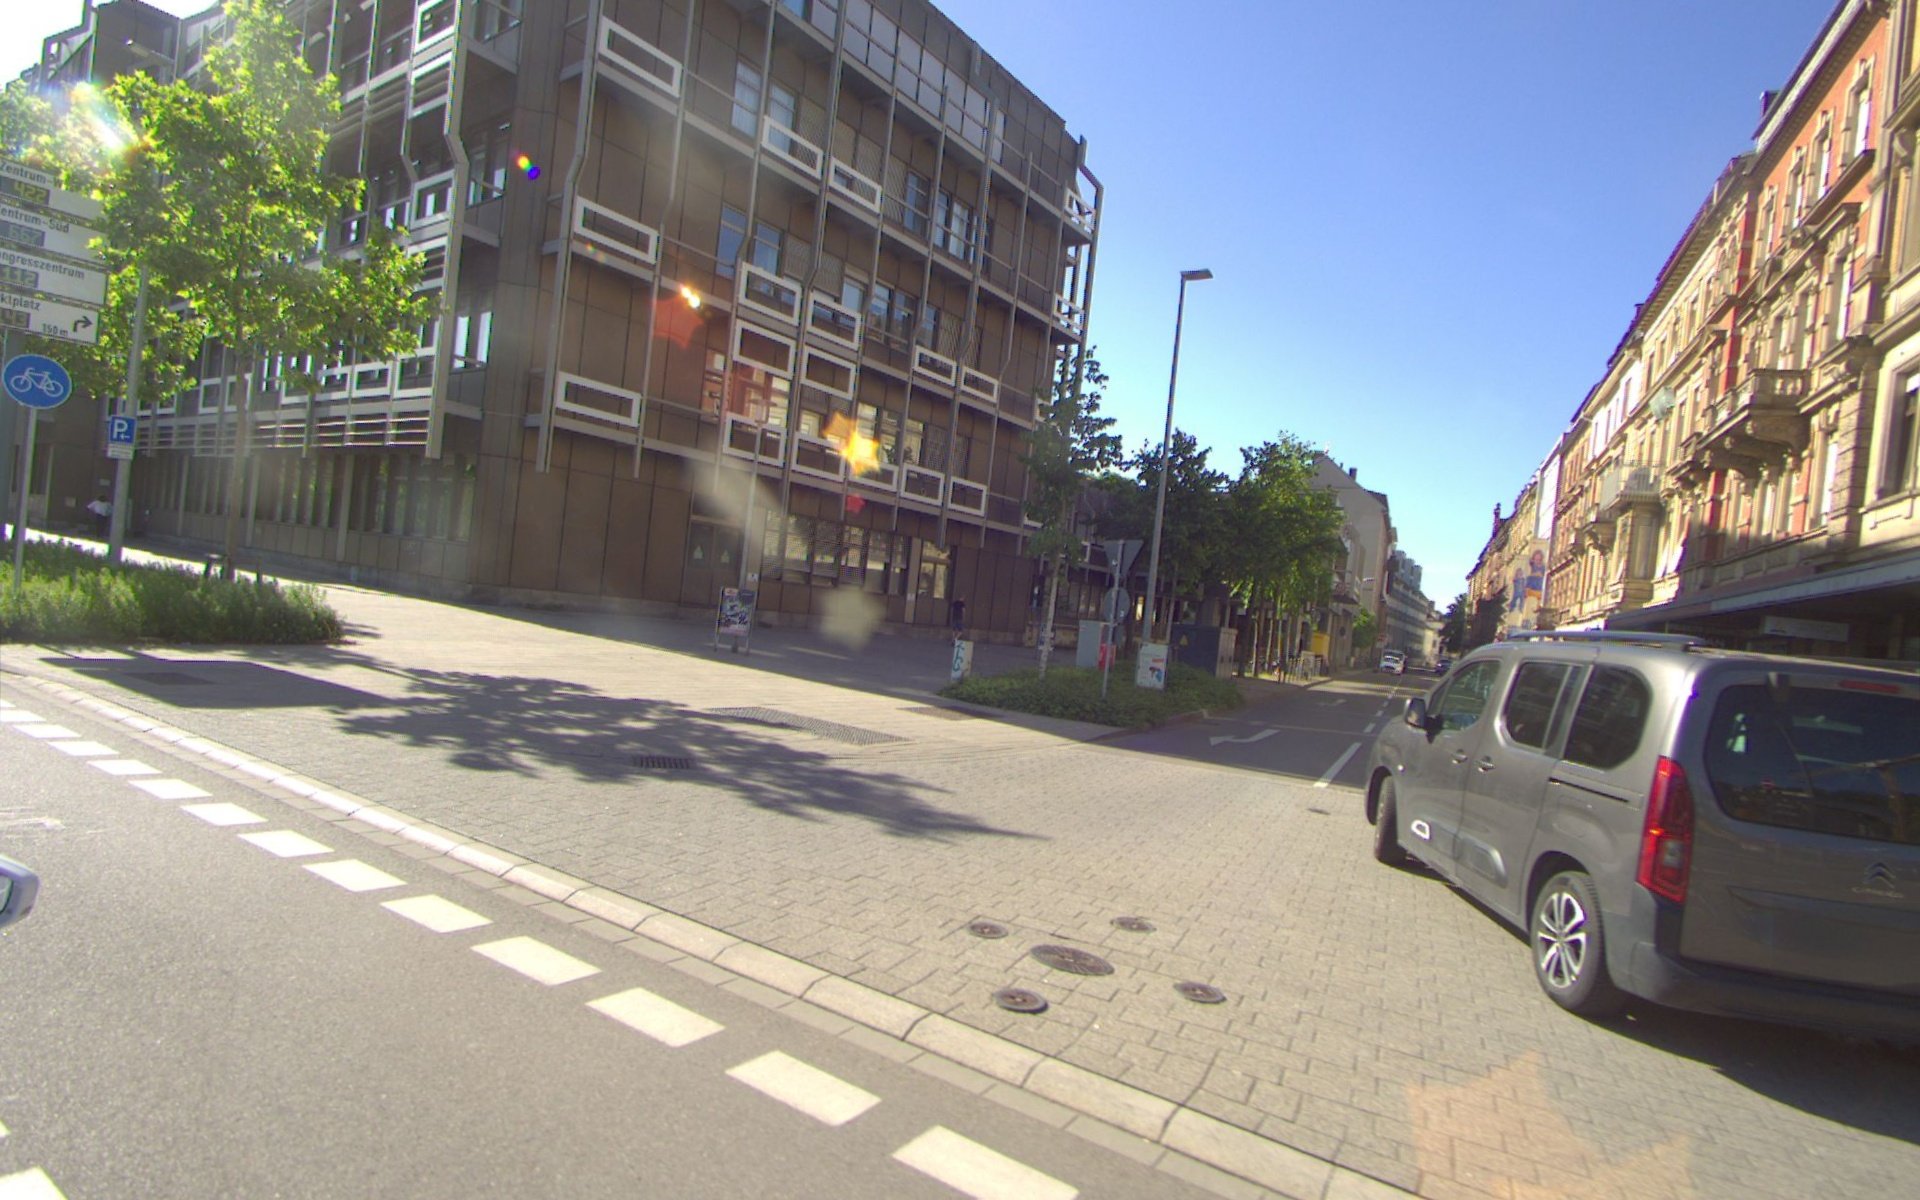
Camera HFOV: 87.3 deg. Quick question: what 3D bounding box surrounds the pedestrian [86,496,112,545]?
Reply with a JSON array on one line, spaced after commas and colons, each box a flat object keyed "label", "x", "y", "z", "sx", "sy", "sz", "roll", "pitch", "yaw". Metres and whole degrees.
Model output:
[{"label": "pedestrian", "x": -30.363, "y": -2.810, "z": 35.482, "sx": 0.664, "sy": 1.644, "sz": 0.510, "roll": 7, "pitch": 3, "yaw": 38}]

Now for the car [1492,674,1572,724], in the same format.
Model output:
[{"label": "car", "x": 19.537, "y": 3.344, "z": 34.499, "sx": 1.681, "sy": 1.370, "sz": 3.823, "roll": 7, "pitch": -1, "yaw": 21}]

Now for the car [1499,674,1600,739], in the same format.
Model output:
[{"label": "car", "x": 16.331, "y": 2.900, "z": 28.072, "sx": 1.620, "sy": 1.370, "sz": 4.439, "roll": 7, "pitch": -1, "yaw": 21}]

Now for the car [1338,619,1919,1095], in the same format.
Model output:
[{"label": "car", "x": 3.903, "y": 1.109, "z": 6.073, "sx": 1.783, "sy": 1.774, "sz": 4.169, "roll": 7, "pitch": 0, "yaw": 5}]

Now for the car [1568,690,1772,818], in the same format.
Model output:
[{"label": "car", "x": 11.112, "y": 2.313, "z": 16.066, "sx": 1.529, "sy": 1.411, "sz": 4.191, "roll": 8, "pitch": 0, "yaw": 21}]

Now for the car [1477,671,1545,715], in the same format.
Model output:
[{"label": "car", "x": 21.494, "y": 3.582, "z": 39.361, "sx": 1.681, "sy": 1.370, "sz": 3.823, "roll": 7, "pitch": -1, "yaw": 21}]

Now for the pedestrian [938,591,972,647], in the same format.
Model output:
[{"label": "pedestrian", "x": -0.167, "y": 0.657, "z": 34.372, "sx": 0.762, "sy": 1.805, "sz": 0.639, "roll": 7, "pitch": 1, "yaw": 31}]

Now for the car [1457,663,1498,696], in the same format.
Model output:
[{"label": "car", "x": 28.984, "y": 4.410, "z": 56.399, "sx": 1.508, "sy": 1.574, "sz": 3.823, "roll": 7, "pitch": 0, "yaw": 21}]

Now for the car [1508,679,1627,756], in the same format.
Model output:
[{"label": "car", "x": 14.210, "y": 2.694, "z": 23.742, "sx": 1.620, "sy": 1.370, "sz": 3.823, "roll": 7, "pitch": -1, "yaw": 21}]

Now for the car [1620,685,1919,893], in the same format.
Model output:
[{"label": "car", "x": 9.006, "y": 1.896, "z": 11.153, "sx": 1.819, "sy": 1.562, "sz": 4.407, "roll": 7, "pitch": -1, "yaw": 22}]

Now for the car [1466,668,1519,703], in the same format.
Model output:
[{"label": "car", "x": 25.540, "y": 4.068, "z": 48.393, "sx": 1.681, "sy": 1.370, "sz": 3.823, "roll": 7, "pitch": -1, "yaw": 21}]

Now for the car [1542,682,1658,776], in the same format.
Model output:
[{"label": "car", "x": 12.672, "y": 2.494, "z": 20.051, "sx": 1.281, "sy": 1.513, "sz": 2.790, "roll": 7, "pitch": 0, "yaw": 21}]
